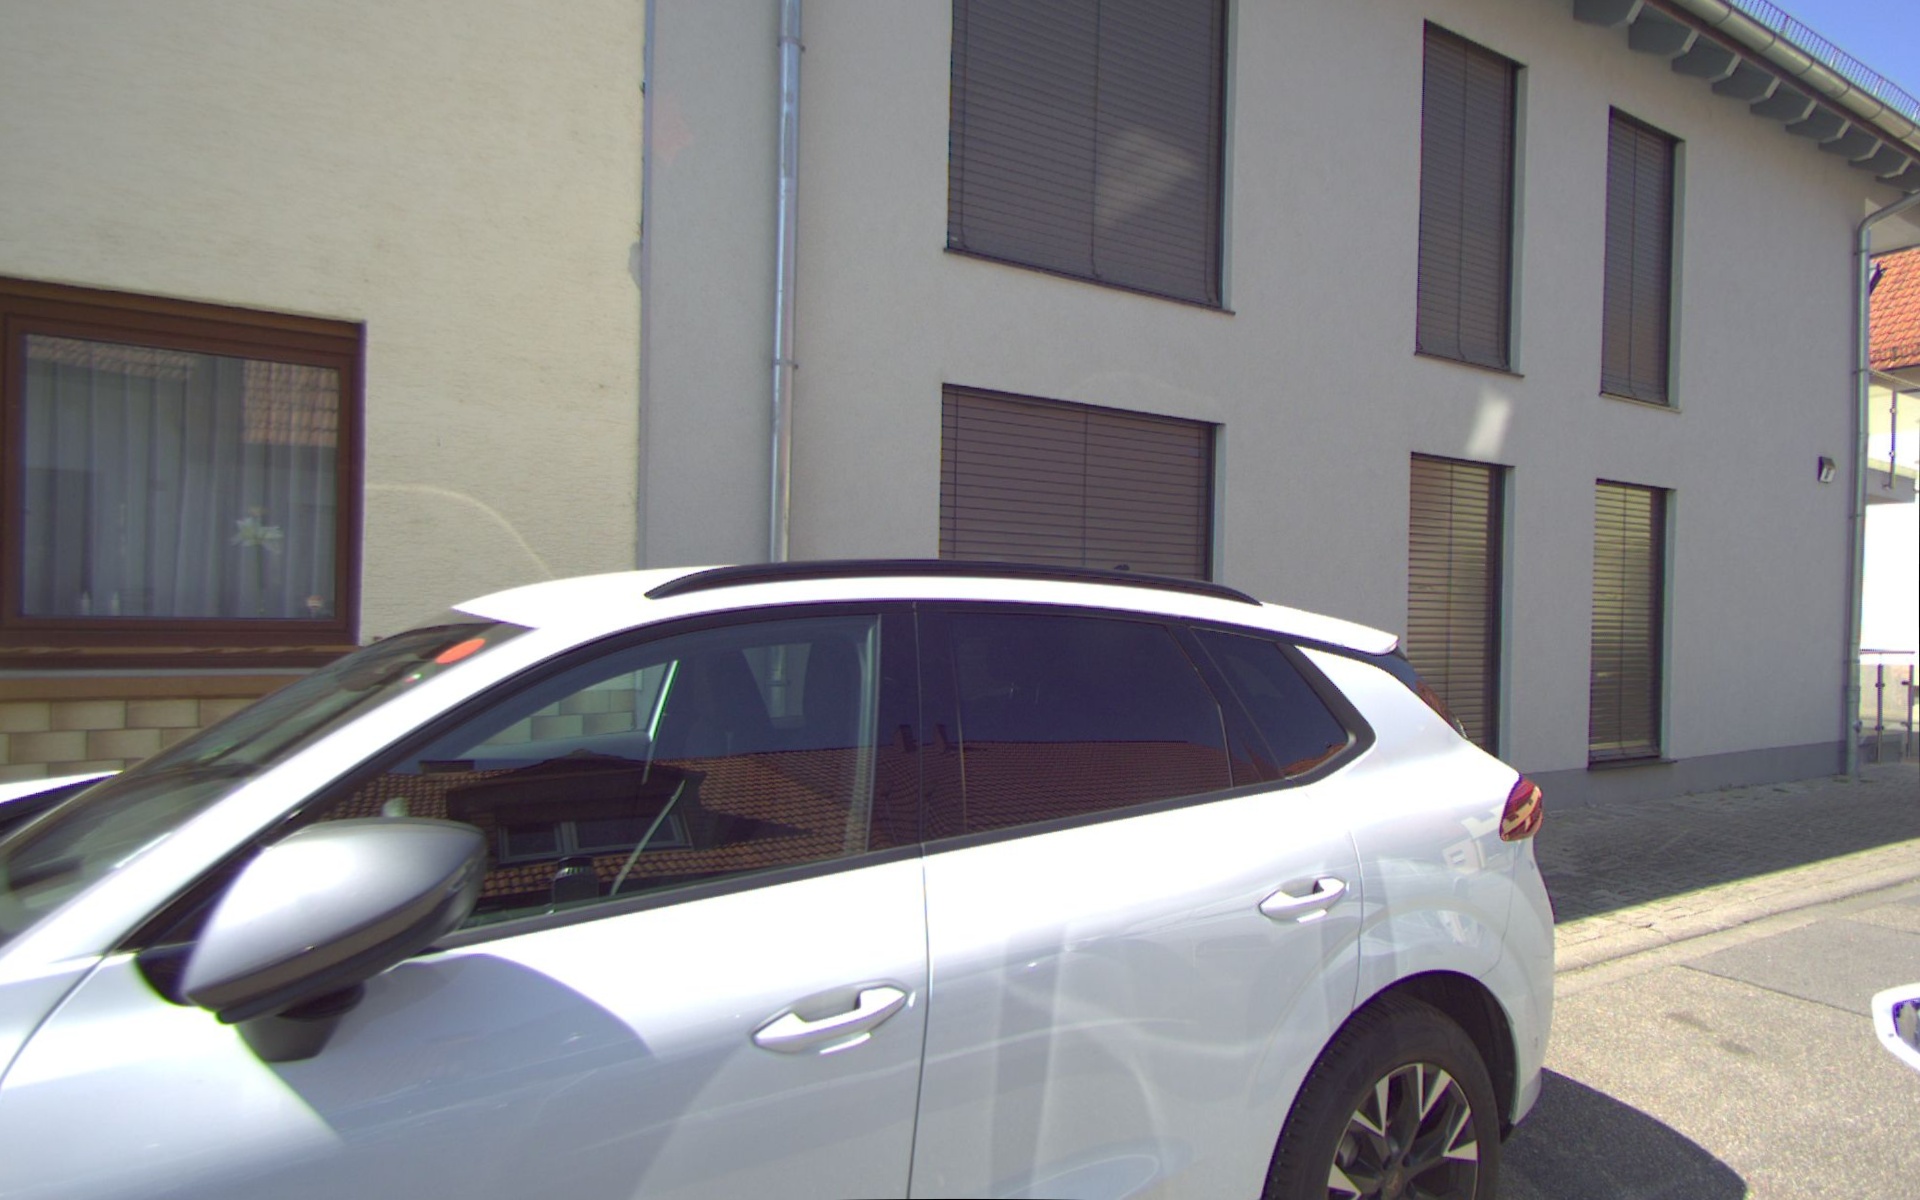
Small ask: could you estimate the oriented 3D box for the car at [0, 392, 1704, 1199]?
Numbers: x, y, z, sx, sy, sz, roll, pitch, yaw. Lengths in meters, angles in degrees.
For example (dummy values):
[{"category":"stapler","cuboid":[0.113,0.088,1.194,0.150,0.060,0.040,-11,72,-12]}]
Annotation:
[{"category":"car","cuboid":[-0.424,0.670,2.163,4.299,1.637,1.765,2,-1,-31]}]
